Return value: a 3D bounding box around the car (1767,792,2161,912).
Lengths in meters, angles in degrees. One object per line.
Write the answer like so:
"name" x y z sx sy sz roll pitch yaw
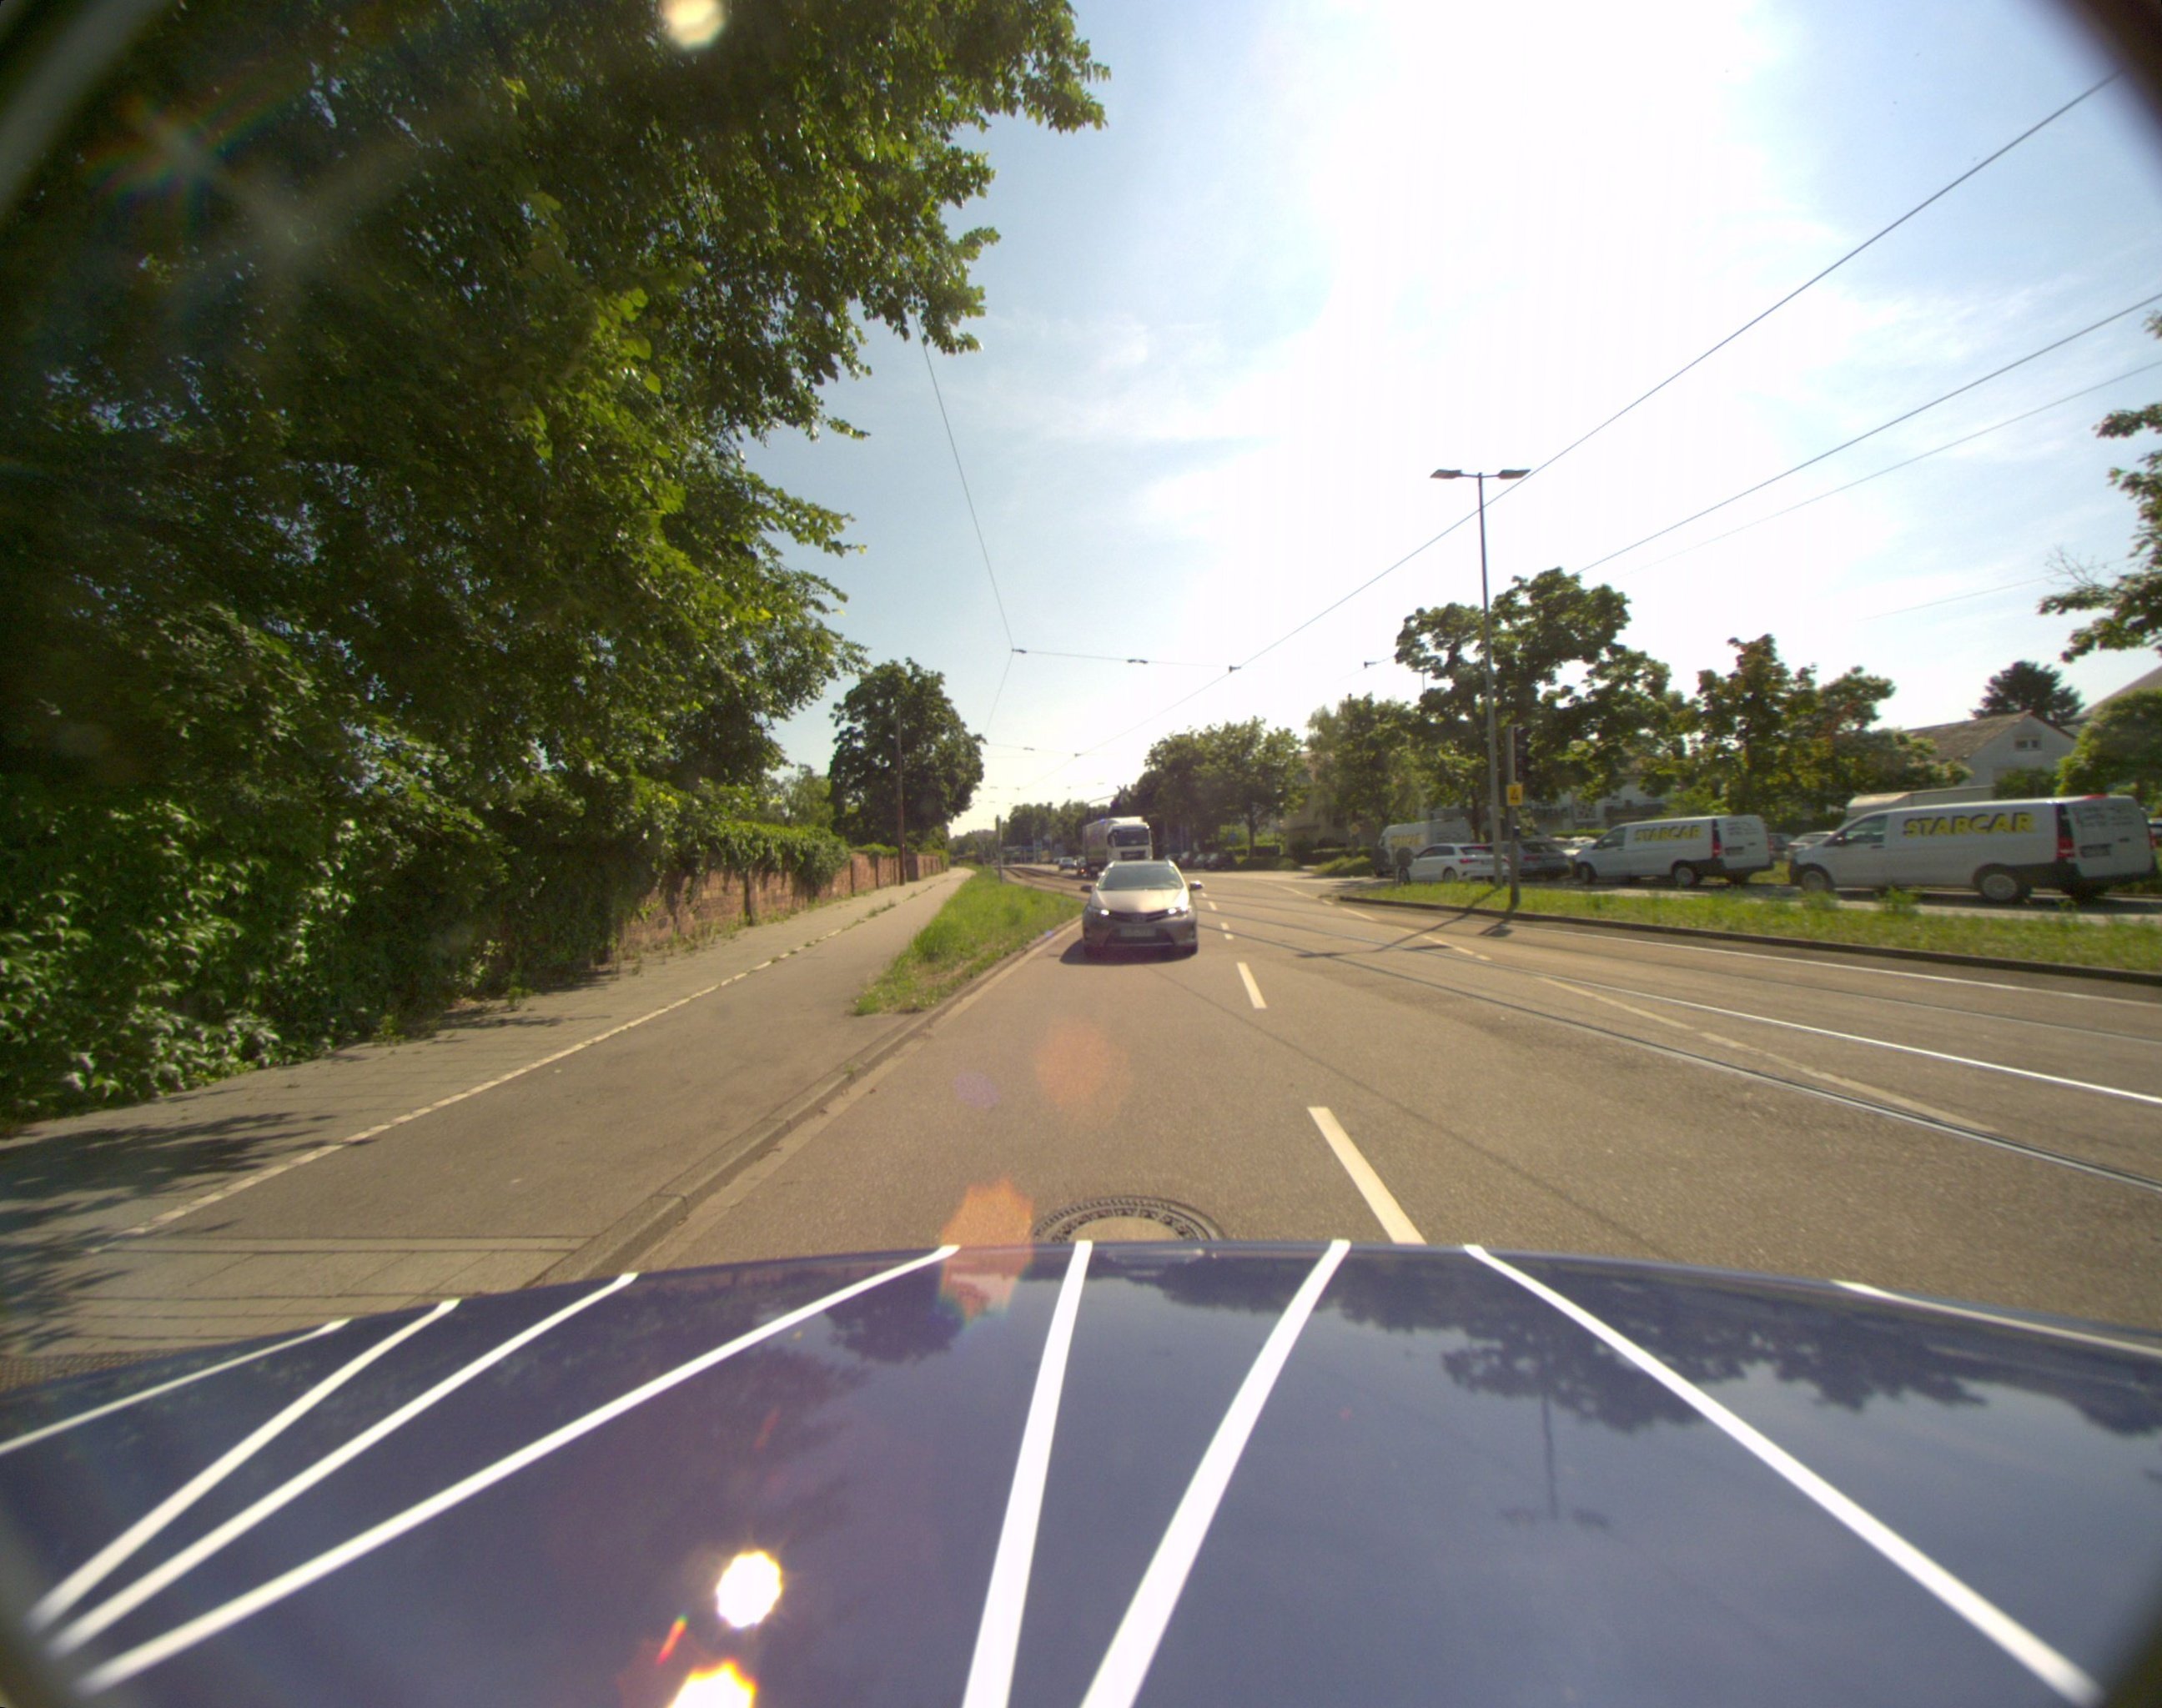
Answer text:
"car" 17.796 -0.044 15.715 2.202 1.929 5.182 -4 0 -5

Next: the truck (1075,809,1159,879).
"truck" 2.144 -0.651 53.271 3.393 4.046 14.277 -4 1 -6

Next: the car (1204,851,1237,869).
"car" 11.758 0.486 64.258 1.620 1.442 4.081 -2 0 -5

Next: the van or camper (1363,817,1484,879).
"van or camper" 15.302 -0.234 34.464 2.264 2.500 6.144 -2 0 -5

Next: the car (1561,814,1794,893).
"car" 17.233 -0.019 22.394 2.203 1.929 5.180 -4 0 -10

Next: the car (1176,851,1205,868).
"car" 10.720 0.530 74.774 1.680 1.603 4.239 -2 1 -8

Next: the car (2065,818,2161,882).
"car" 27.857 -0.161 19.315 3.999 1.535 1.662 -2 1 -7

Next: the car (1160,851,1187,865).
"car" 9.875 0.390 81.460 1.680 1.427 4.454 -2 0 -8

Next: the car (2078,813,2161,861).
"car" 40.228 -0.658 28.526 4.000 1.718 1.734 -2 0 -10

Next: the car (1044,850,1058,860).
"car" -5.785 0.240 146.896 2.001 1.783 3.995 -2 0 -12

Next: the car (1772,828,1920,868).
"car" 27.353 -0.201 27.208 3.928 1.263 1.662 -2 1 -7

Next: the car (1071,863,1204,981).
"car" 0.958 0.937 12.110 1.719 1.439 4.032 -2 0 6

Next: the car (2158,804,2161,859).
"car" 39.325 -0.857 25.705 4.000 1.880 1.784 -2 0 -10

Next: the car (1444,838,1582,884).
"car" 15.994 0.232 28.493 1.938 1.446 4.882 -4 1 -7

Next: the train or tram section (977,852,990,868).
"train or tram section" -25.251 1.436 197.695 2.678 3.631 15.295 -4 1 -6

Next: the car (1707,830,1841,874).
"car" 26.994 -0.072 29.649 3.999 1.535 1.662 -2 1 -7

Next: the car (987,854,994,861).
"car" -29.854 1.205 250.592 2.001 2.002 3.995 -2 0 -15

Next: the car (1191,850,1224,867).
"car" 11.462 0.410 69.193 1.702 1.387 4.578 -2 0 -6

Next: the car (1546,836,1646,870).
"car" 25.550 -0.072 37.755 4.000 1.535 1.662 -2 1 -8

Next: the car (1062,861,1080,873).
"car" -1.193 1.466 87.075 1.701 1.248 3.998 -2 0 -6

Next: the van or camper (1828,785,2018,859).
"van or camper" 39.980 -1.489 36.152 6.972 3.226 2.580 -2 1 -8

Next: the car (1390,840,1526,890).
"car" 12.145 0.321 24.833 1.797 1.414 4.332 -2 0 -8
